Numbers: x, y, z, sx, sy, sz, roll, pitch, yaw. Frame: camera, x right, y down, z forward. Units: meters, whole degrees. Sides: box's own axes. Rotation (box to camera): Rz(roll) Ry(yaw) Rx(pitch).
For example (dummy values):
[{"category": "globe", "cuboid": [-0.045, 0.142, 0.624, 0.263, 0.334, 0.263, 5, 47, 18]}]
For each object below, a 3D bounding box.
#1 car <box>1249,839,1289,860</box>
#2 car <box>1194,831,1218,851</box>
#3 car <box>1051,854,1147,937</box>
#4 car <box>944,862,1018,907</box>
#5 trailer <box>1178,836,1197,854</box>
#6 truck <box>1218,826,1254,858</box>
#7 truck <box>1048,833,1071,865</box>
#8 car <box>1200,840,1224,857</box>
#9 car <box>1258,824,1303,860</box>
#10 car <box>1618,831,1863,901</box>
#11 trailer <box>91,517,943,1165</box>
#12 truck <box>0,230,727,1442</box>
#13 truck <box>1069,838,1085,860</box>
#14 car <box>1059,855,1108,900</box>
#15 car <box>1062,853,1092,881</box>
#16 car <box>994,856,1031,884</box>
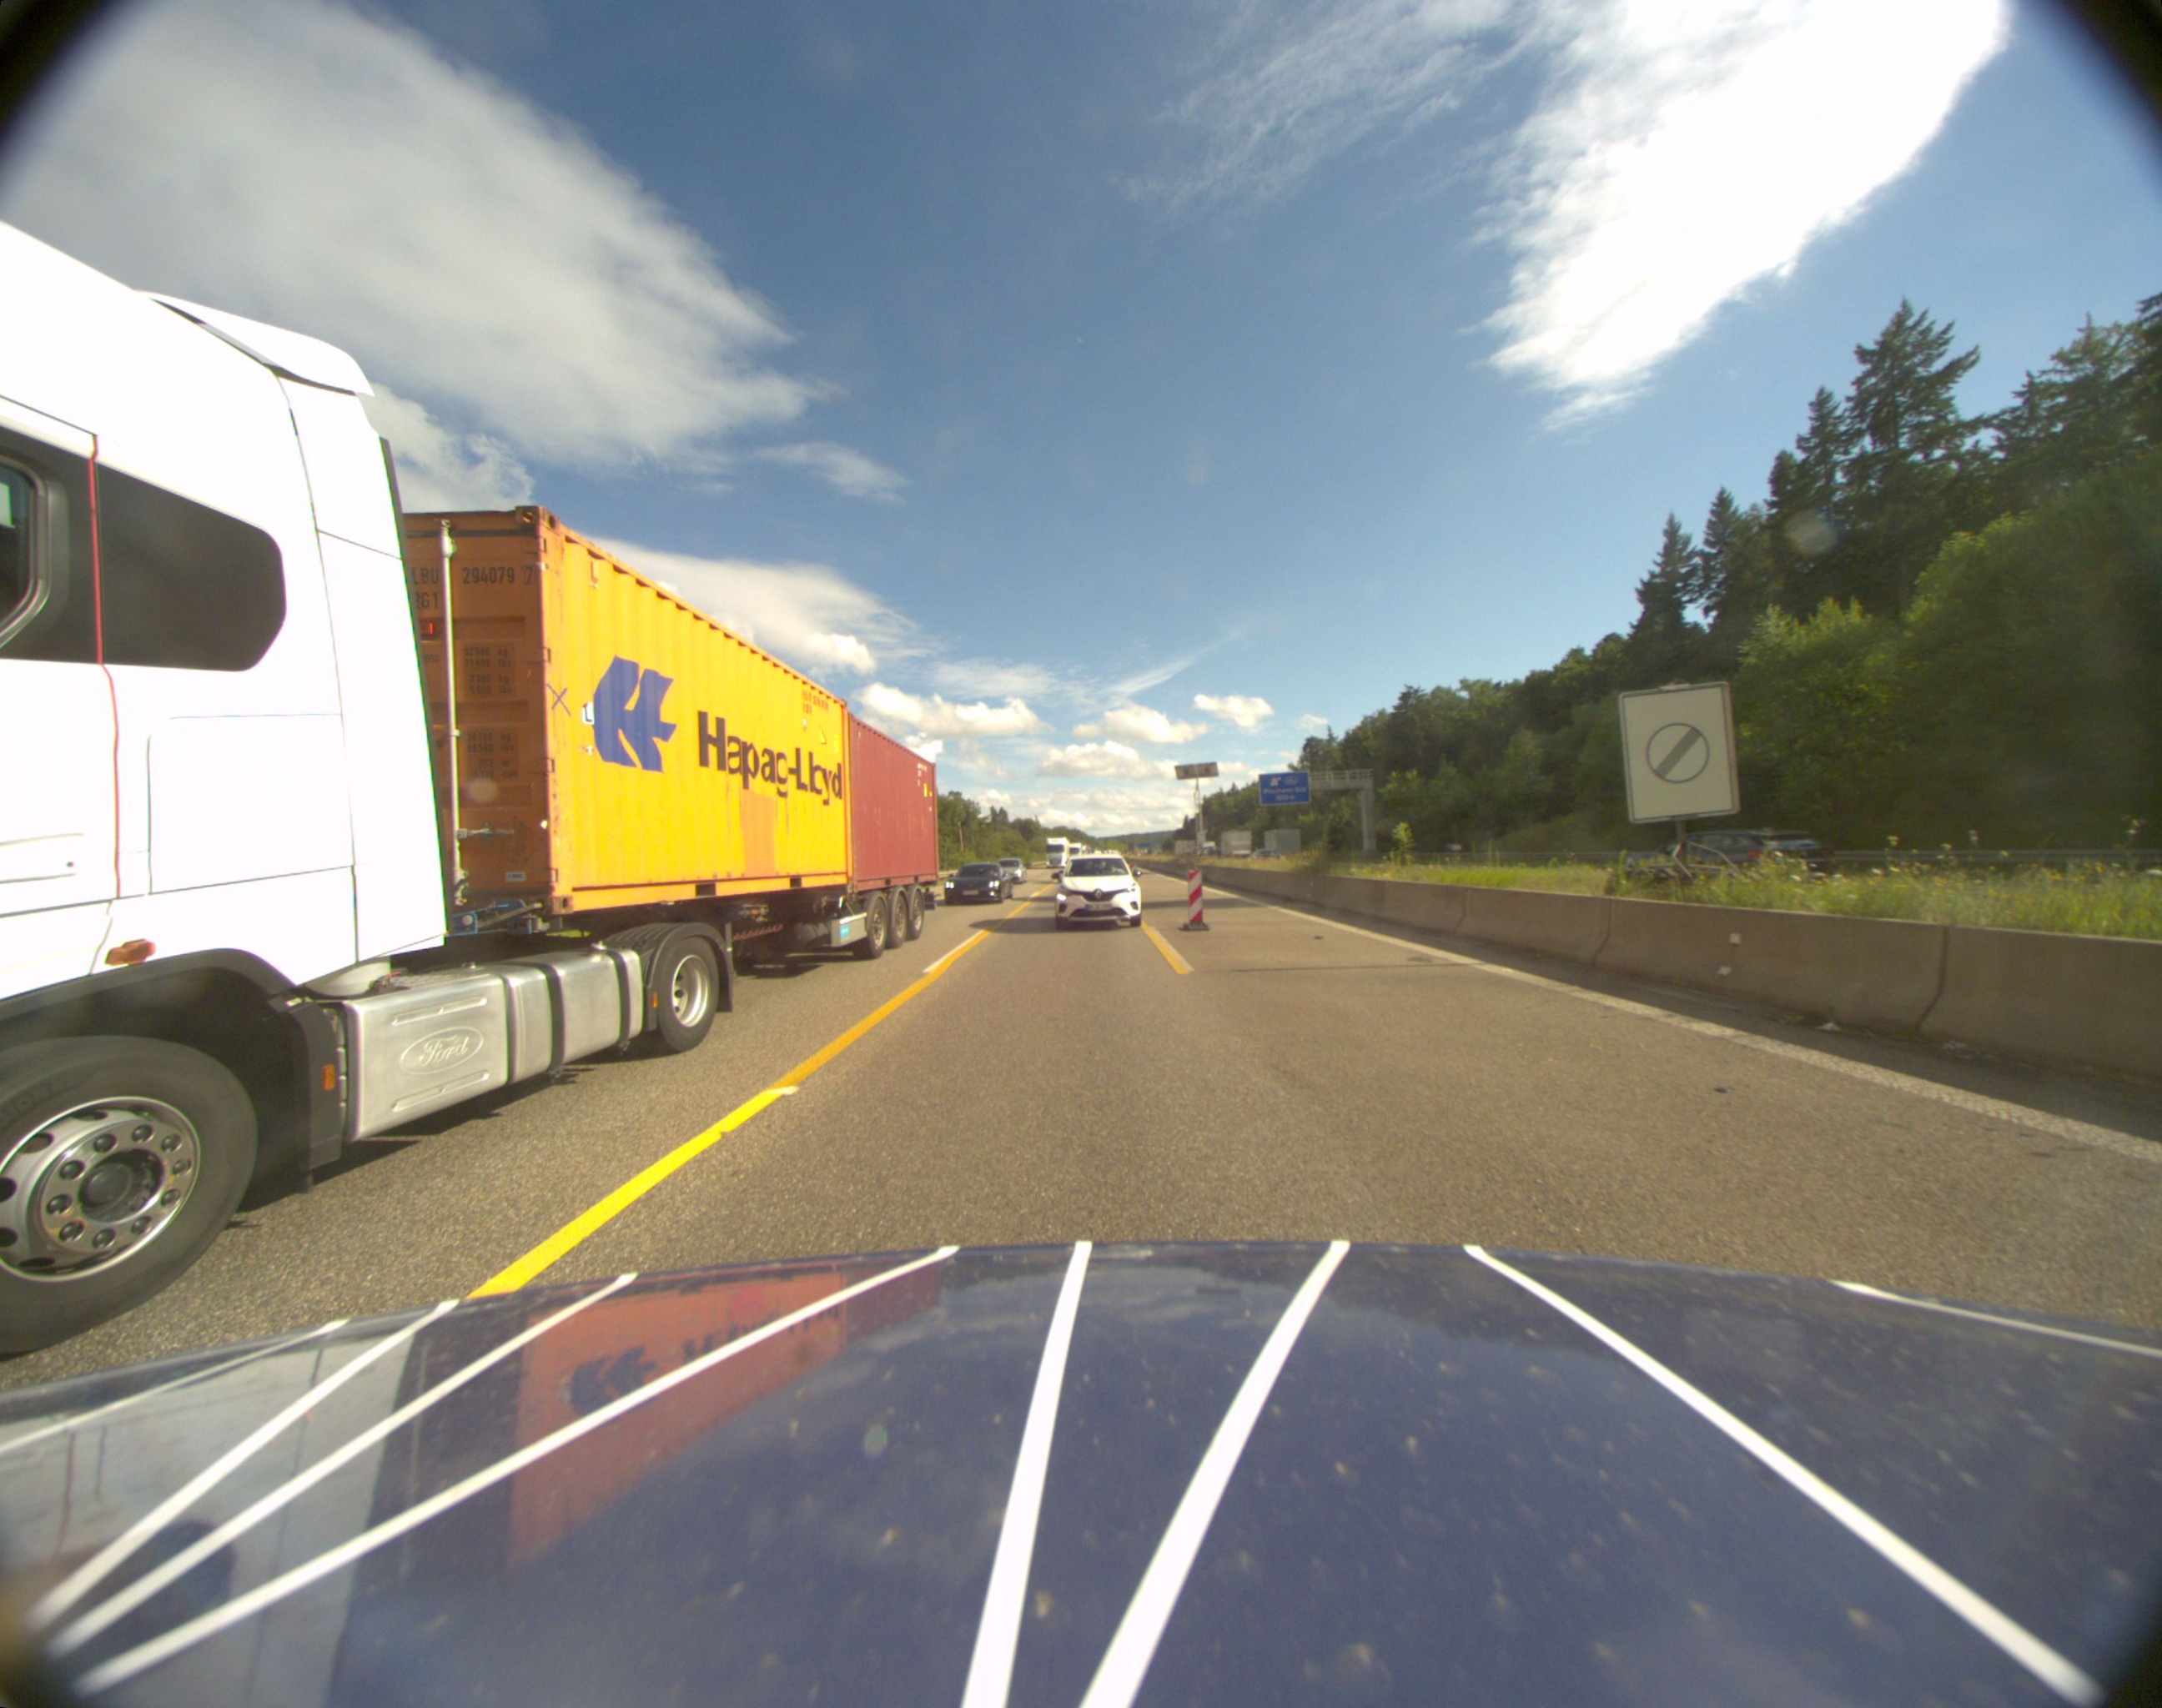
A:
[{"category": "car", "cuboid": [13.449, -0.317, 54.580, 1.783, 1.379, 4.310, -2, 1, 1]}, {"category": "car", "cuboid": [16.640, -1.674, 101.338, 2.165, 2.437, 6.331, -3, 1, 1]}, {"category": "car", "cuboid": [0.357, 0.829, 17.023, 1.840, 1.528, 3.882, -2, 1, 0]}, {"category": "car", "cuboid": [-3.486, 1.023, 27.337, 1.933, 1.342, 4.477, -2, 0, 1]}, {"category": "trailer", "cuboid": [23.073, -1.946, 165.276, 2.797, 3.901, 8.487, -2, 1, 1]}, {"category": "truck", "cuboid": [21.041, -1.577, 103.531, 2.807, 3.969, 10.185, -2, 0, 1]}, {"category": "truck", "cuboid": [-2.888, -0.655, 102.659, 2.641, 4.092, 8.195, -2, 0, 0]}, {"category": "car", "cuboid": [14.150, -0.612, 82.269, 1.949, 1.802, 4.118, -2, 1, 1]}, {"category": "car", "cuboid": [20.116, -1.196, 77.075, 2.493, 3.351, 7.451, -2, 1, 0]}, {"category": "car", "cuboid": [14.832, 0.215, 17.488, 1.963, 1.355, 4.287, -2, 1, 1]}, {"category": "trailer", "cuboid": [-4.439, -0.090, 10.579, 2.477, 3.753, 12.135, -2, 0, 1]}, {"category": "truck", "cuboid": [-4.572, -0.063, 3.956, 2.501, 3.759, 5.789, -2, 1, 1]}, {"category": "truck", "cuboid": [-0.792, -1.006, 151.948, 2.640, 4.092, 8.197, -2, 0, 3]}, {"category": "car", "cuboid": [0.128, 0.831, 28.622, 1.692, 1.471, 3.754, -2, 1, 1]}, {"category": "car", "cuboid": [-0.217, 0.743, 46.059, 1.633, 1.548, 3.754, -2, 0, 1]}, {"category": "car", "cuboid": [-4.046, 0.927, 45.368, 1.762, 1.471, 3.967, -2, 1, 1]}]
